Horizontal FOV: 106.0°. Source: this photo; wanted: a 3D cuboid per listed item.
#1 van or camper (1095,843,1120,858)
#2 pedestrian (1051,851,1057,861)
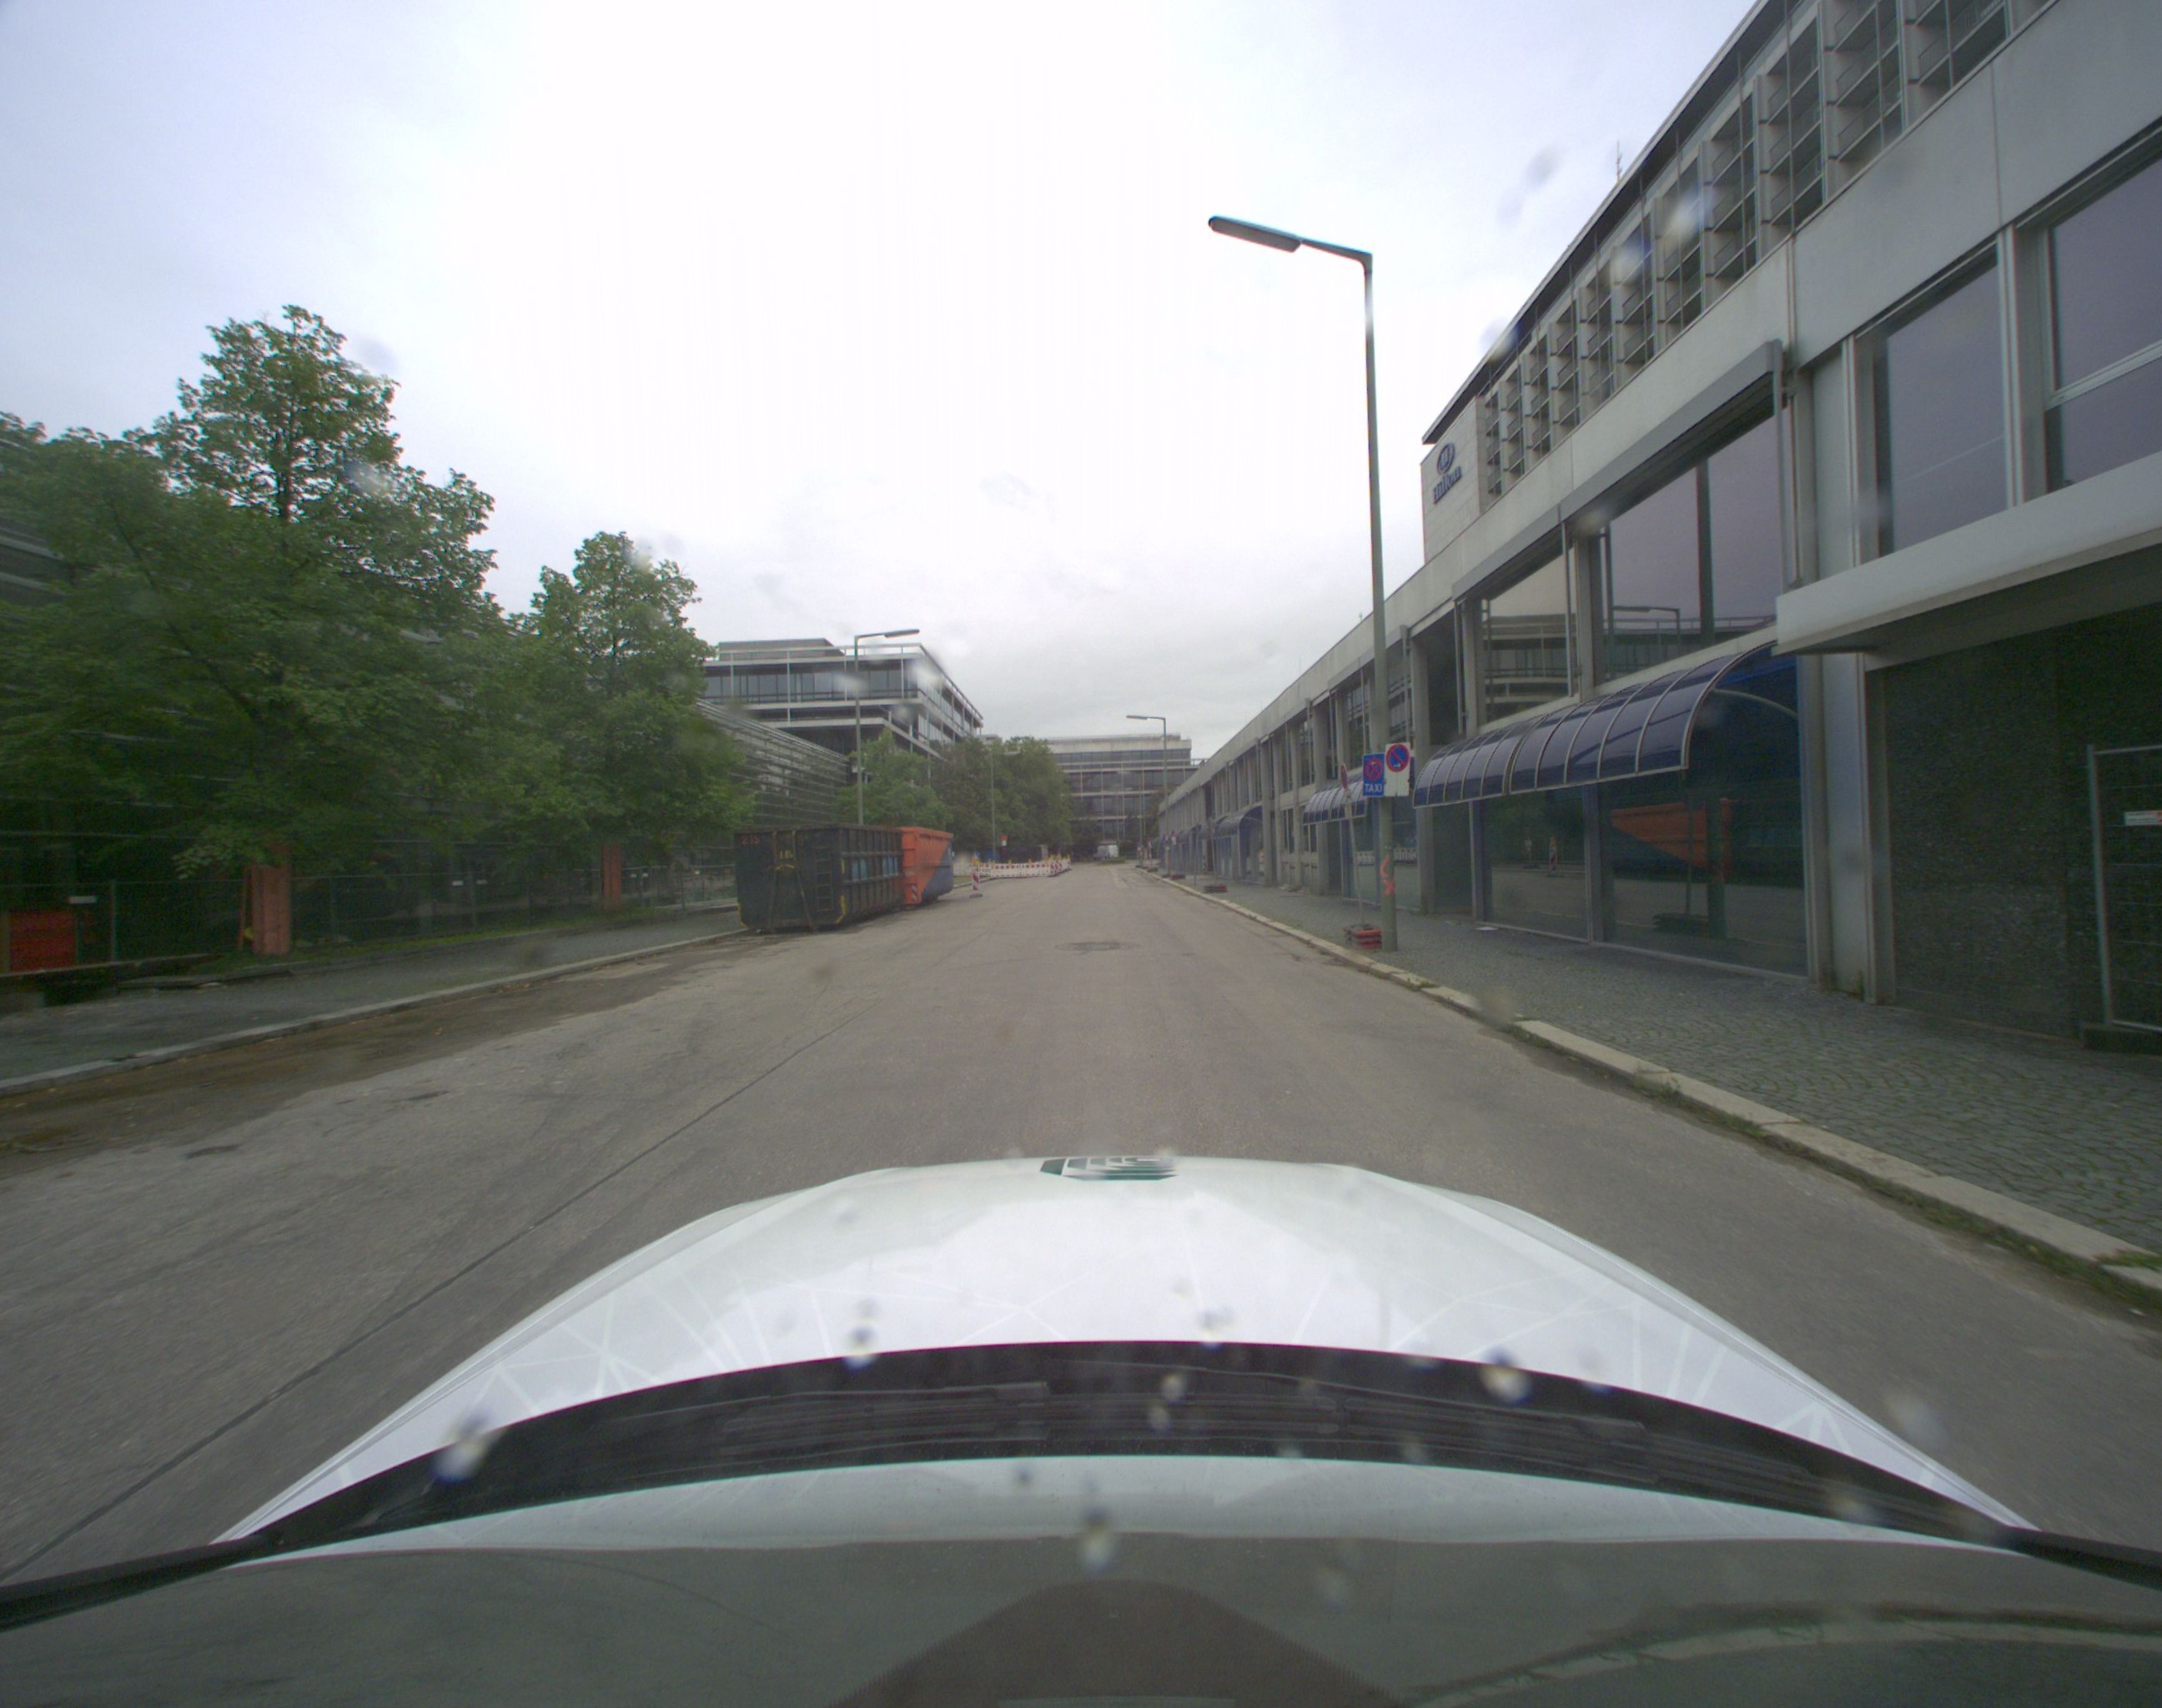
[{"bbox_3d":[4.504,-0.558,138.989,2.095,2.492,5.027,-2,0,-24],"label":"van or camper"},{"bbox_3d":[-4.543,0.325,138.173,0.743,1.677,0.678,-2,0,-18],"label":"pedestrian"}]
